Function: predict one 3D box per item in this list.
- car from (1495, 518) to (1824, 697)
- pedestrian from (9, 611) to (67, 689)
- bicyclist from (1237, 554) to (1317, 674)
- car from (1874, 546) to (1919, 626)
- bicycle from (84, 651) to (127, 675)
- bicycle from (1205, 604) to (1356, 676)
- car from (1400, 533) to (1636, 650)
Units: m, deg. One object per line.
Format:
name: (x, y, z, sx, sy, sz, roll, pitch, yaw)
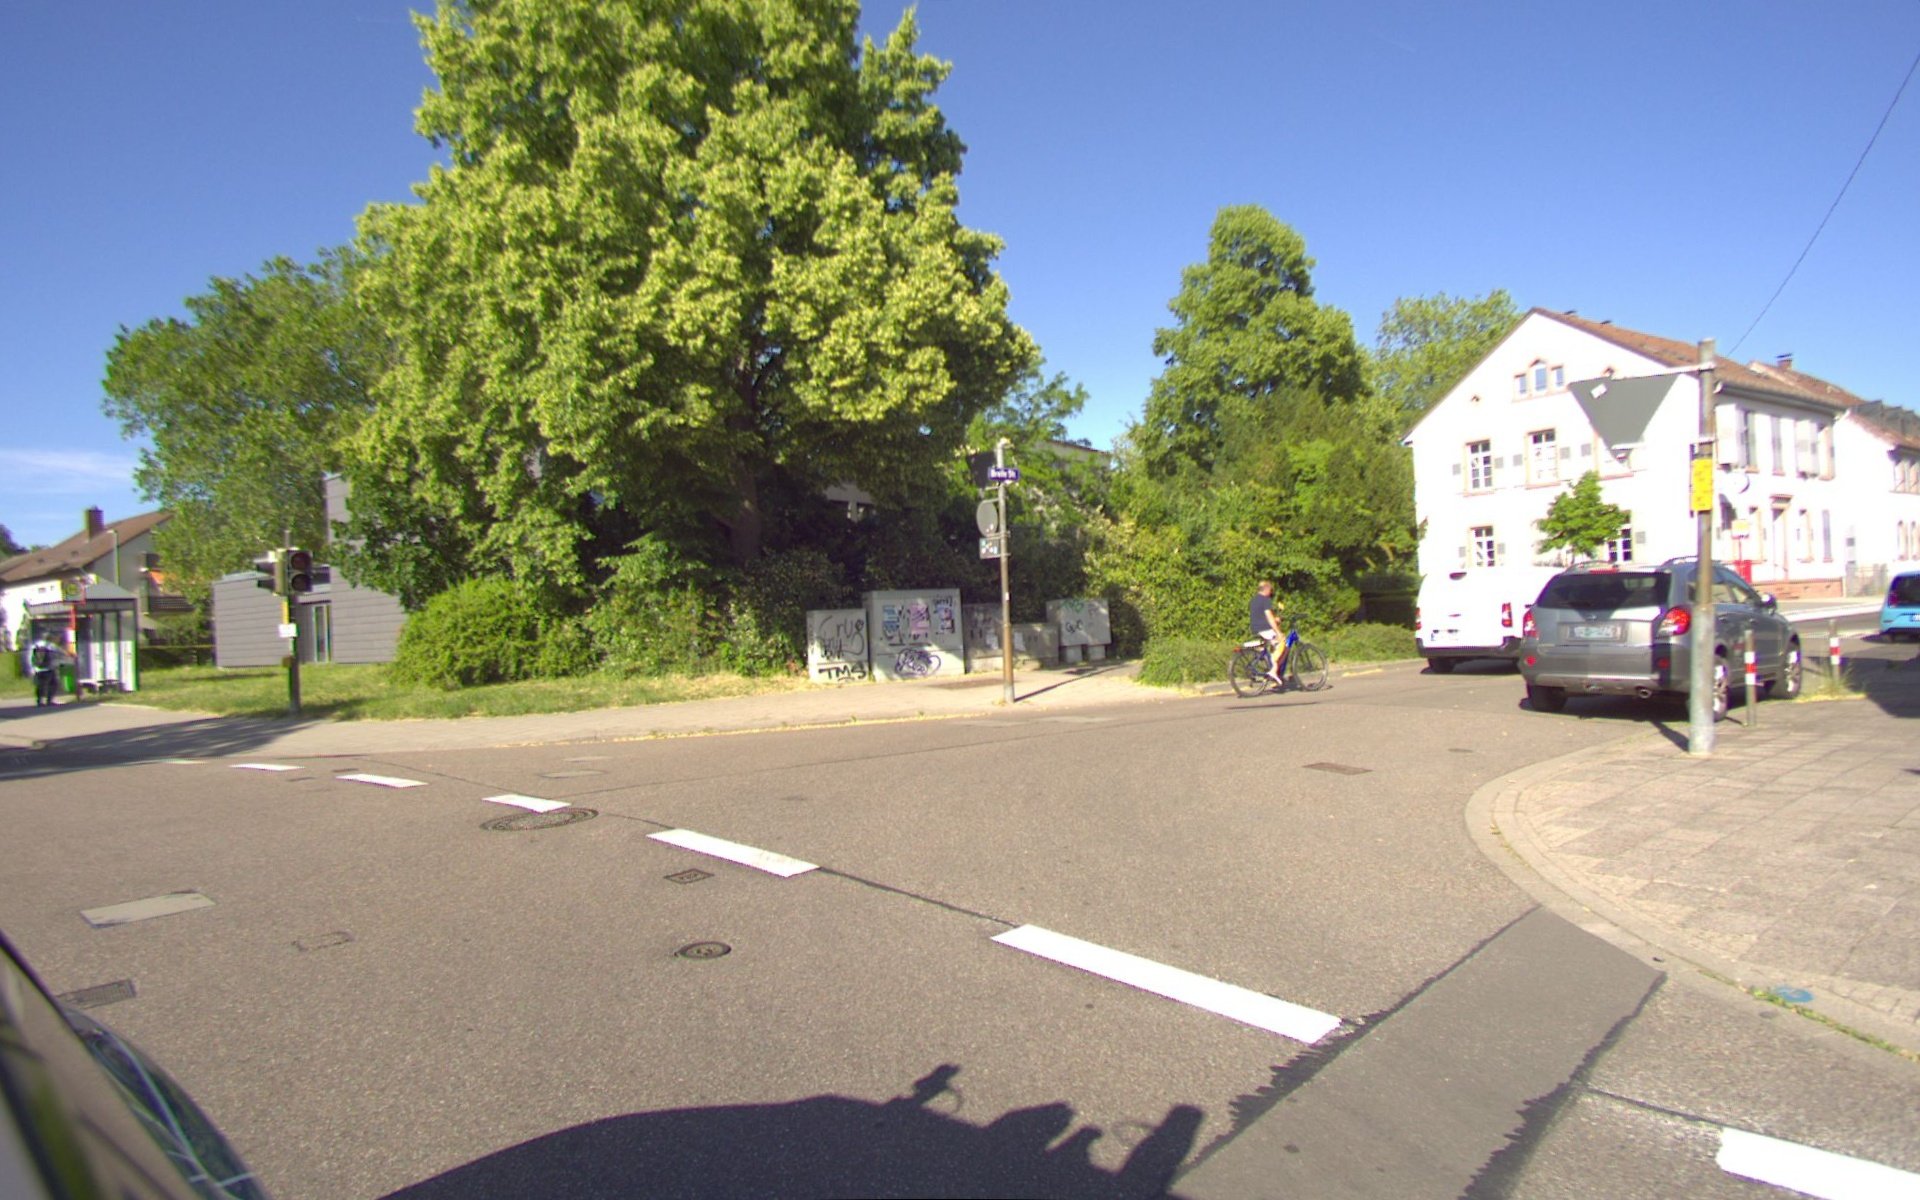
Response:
car: (8.296, 0.016, 11.889, 4.166, 1.738, 1.949, -3, 0, -38)
pedestrian: (-22.694, 1.217, 24.921, 0.706, 1.816, 0.773, -3, 2, -16)
bicyclist: (4.897, 0.213, 15.665, 0.838, 1.802, 0.769, -1, -2, -23)
car: (20.536, -0.369, 20.700, 4.166, 1.560, 1.949, -3, 0, -37)
bicycle: (-41.550, 3.056, 49.222, 1.576, 0.992, 0.501, -3, -2, -40)
bicycle: (4.976, 0.589, 15.671, 2.251, 0.947, 0.780, -2, 2, -23)
car: (10.194, -0.161, 18.392, 4.485, 1.862, 1.968, -2, -2, -36)
